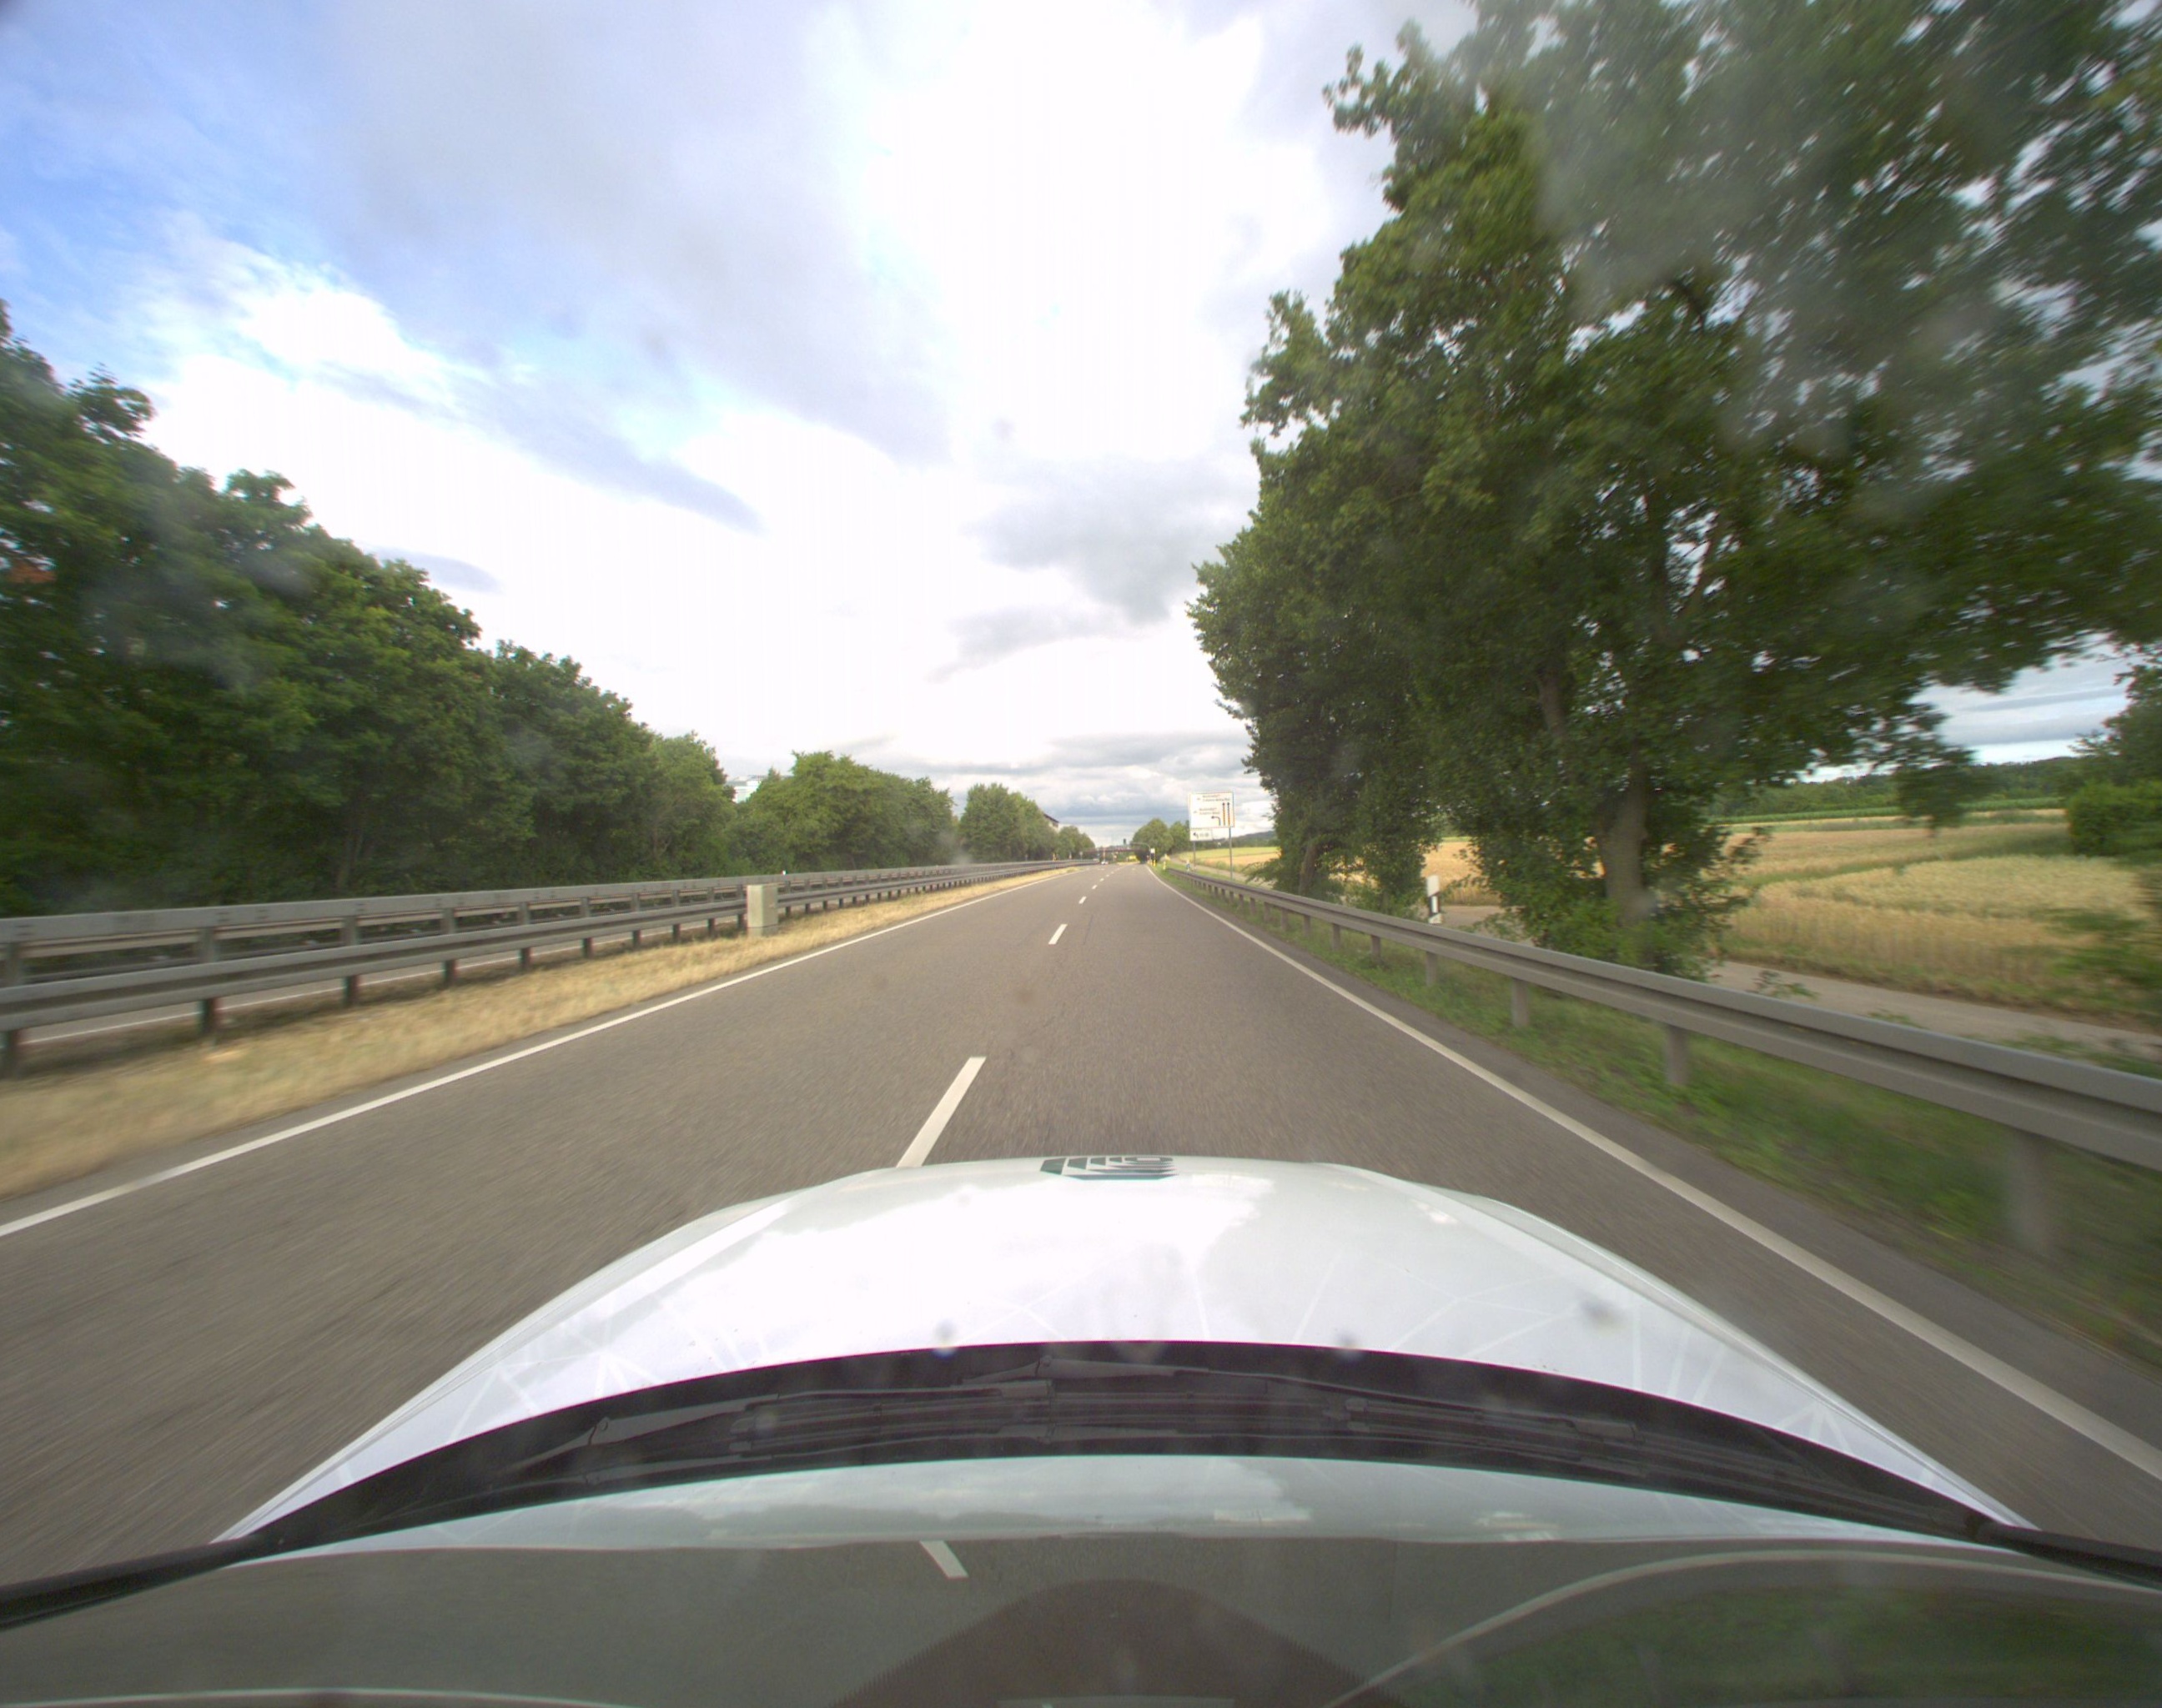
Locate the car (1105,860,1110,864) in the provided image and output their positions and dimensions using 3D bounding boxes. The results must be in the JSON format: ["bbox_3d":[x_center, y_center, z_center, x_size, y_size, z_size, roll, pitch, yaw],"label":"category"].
[{"bbox_3d":[8.069,2.451,244.941,1.351,1.092,2.926,-2,0,5],"label":"car"}]
